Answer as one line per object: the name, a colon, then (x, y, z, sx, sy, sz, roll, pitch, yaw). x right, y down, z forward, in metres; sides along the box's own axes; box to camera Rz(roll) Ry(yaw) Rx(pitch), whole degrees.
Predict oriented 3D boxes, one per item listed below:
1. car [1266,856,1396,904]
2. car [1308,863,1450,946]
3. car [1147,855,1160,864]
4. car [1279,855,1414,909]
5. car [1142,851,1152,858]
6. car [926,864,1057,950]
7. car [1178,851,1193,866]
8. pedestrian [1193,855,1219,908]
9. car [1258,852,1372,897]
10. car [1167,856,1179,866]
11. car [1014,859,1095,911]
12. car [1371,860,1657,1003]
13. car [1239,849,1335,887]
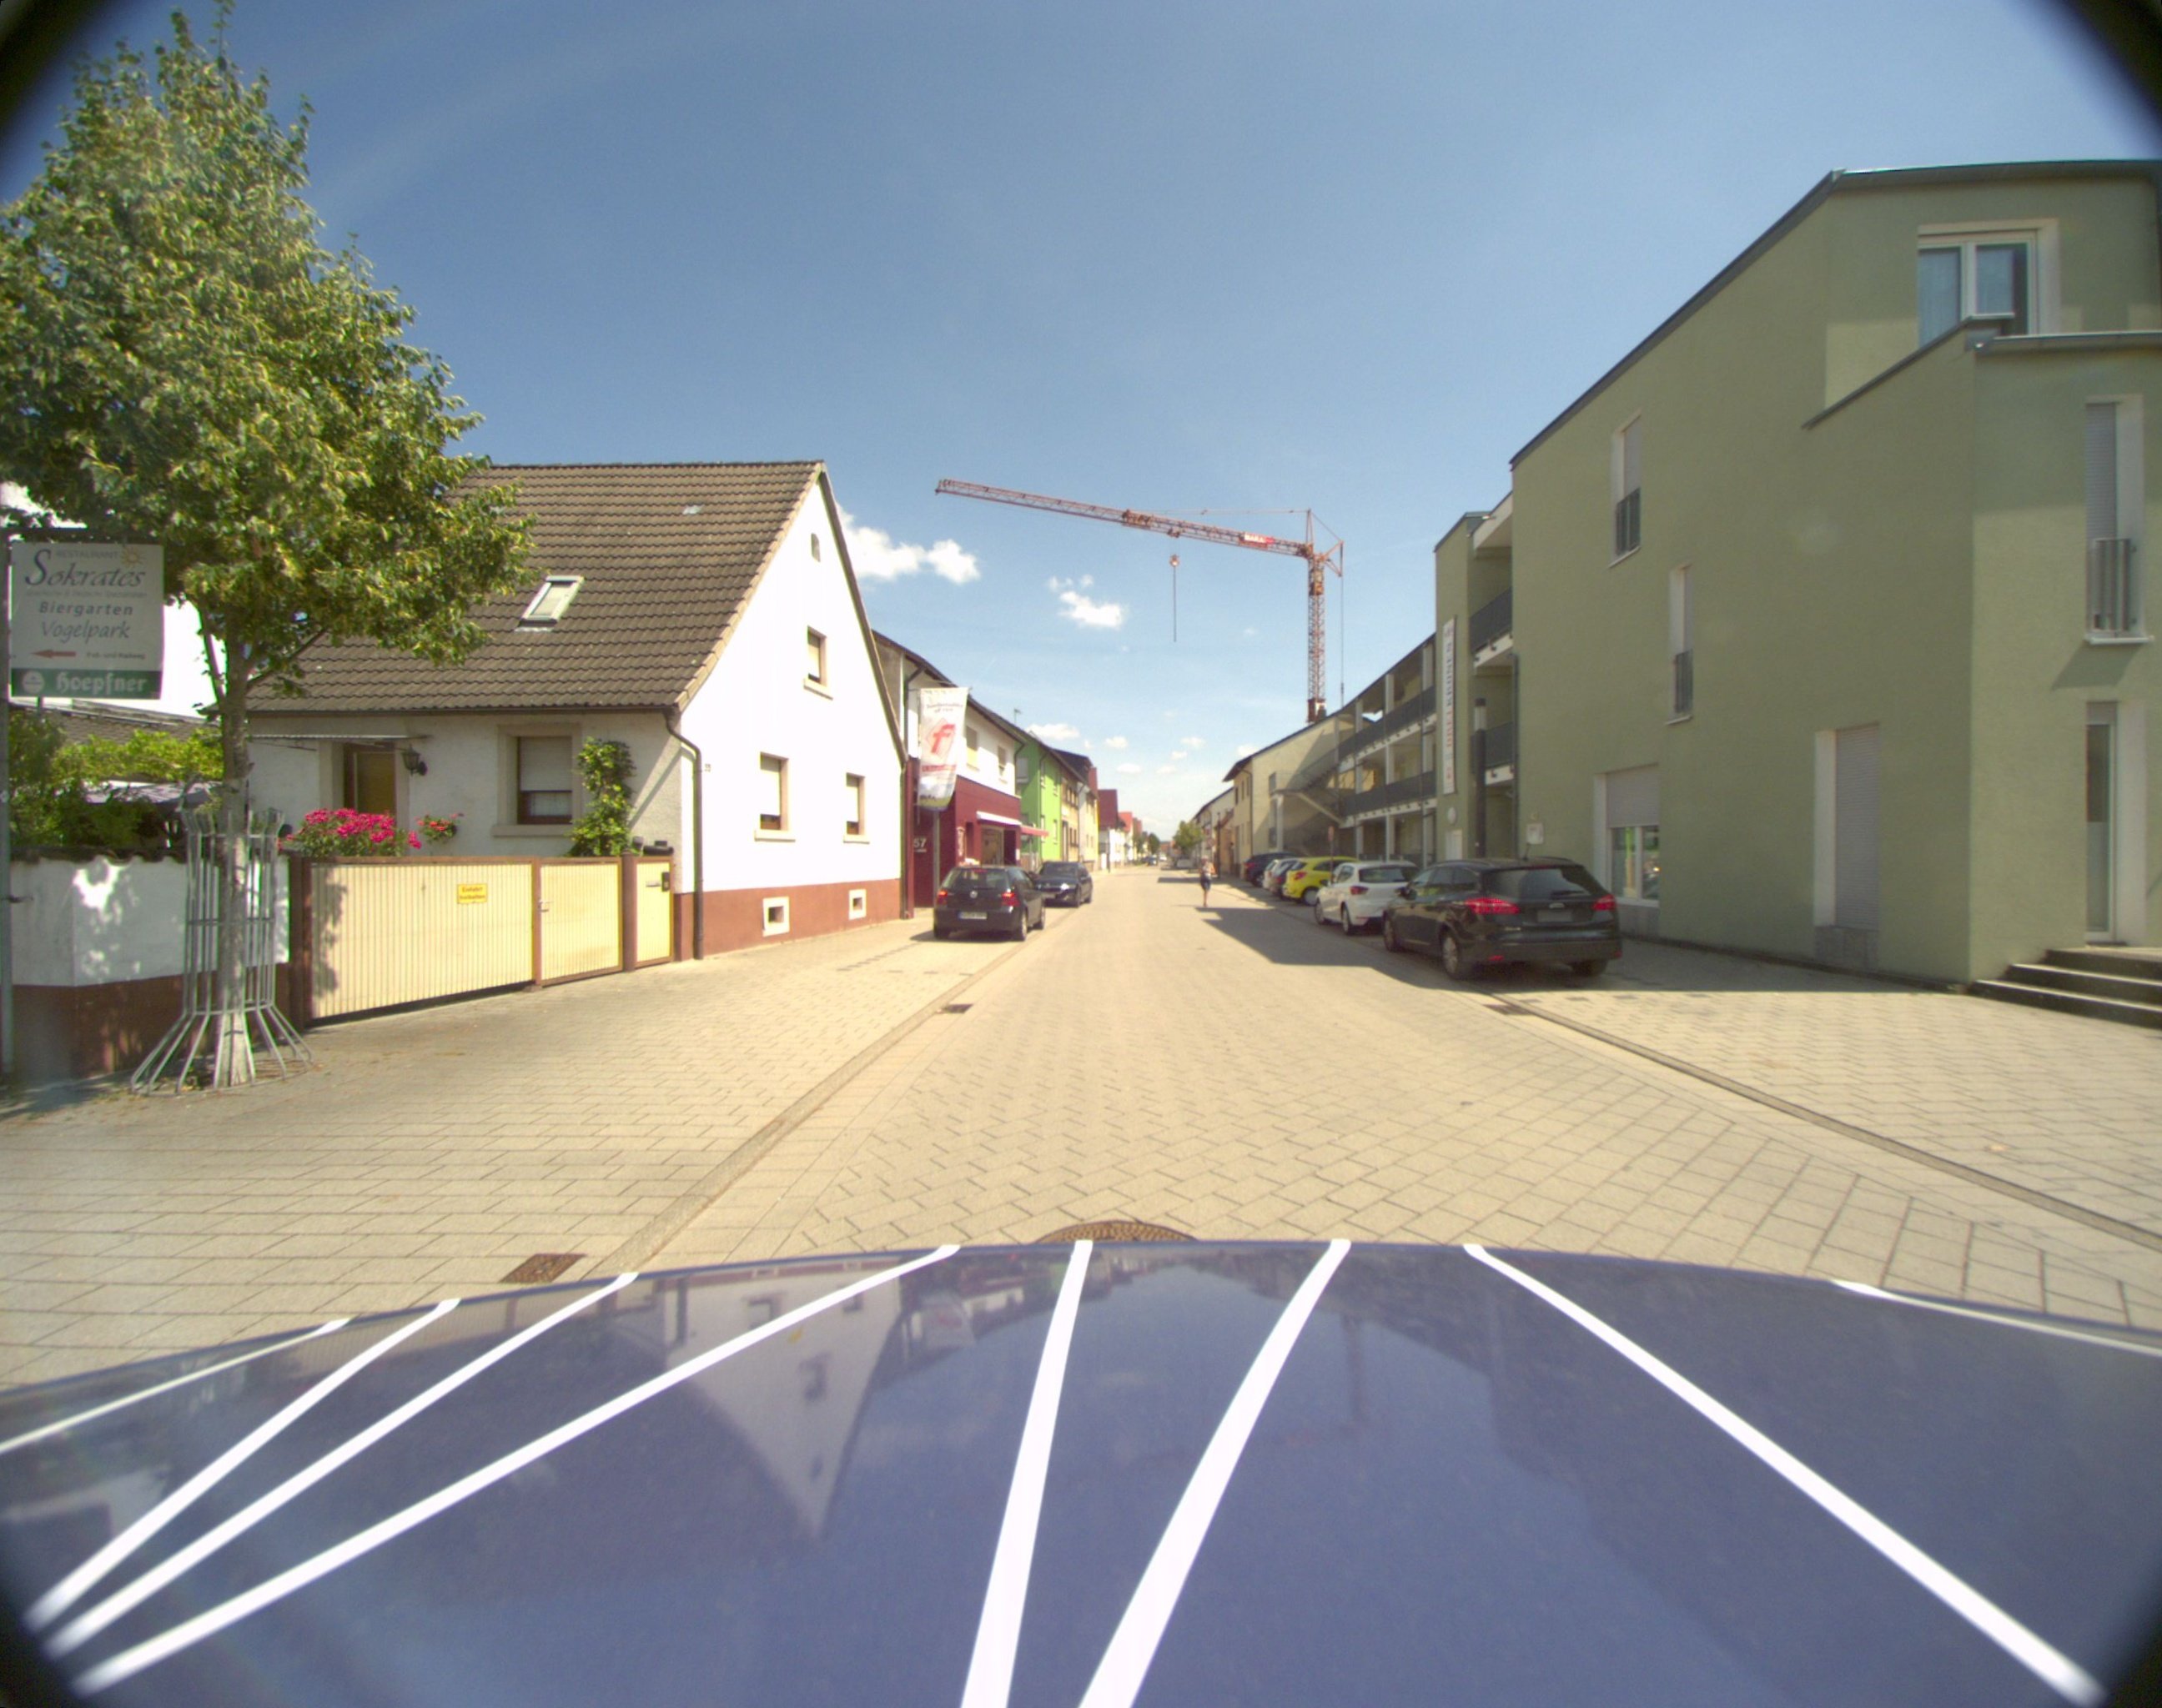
car: (8.669, 0.892, 26.634, 3.995, 1.433, 1.692, -3, 0, 6)
car: (6.062, 0.958, 15.922, 1.761, 1.402, 3.879, -2, 0, 6)
car: (12.000, 0.876, 126.167, 1.957, 1.521, 4.002, 0, 0, 7)
car: (8.434, 0.858, 24.352, 3.701, 1.516, 1.672, -3, 0, 1)
car: (12.494, 0.082, 144.525, 1.725, 1.420, 3.820, 0, 0, 7)
car: (-1.672, 0.973, 15.591, 1.763, 1.430, 4.121, 1, 0, 6)
car: (11.785, 0.470, 85.406, 1.575, 1.552, 2.823, -3, 0, 9)
pedestrian: (3.967, 0.859, 24.068, 0.748, 1.630, 0.732, -2, 1, 8)
car: (8.988, 0.769, 29.439, 3.908, 1.494, 1.752, -3, 0, 7)
car: (15.005, 1.156, 123.879, 1.751, 1.557, 3.956, 0, 0, 5)
car: (-0.769, 0.950, 25.345, 1.861, 1.451, 4.588, 2, 1, 8)
car: (5.524, 0.875, 10.430, 1.817, 1.482, 4.279, -2, 0, 6)
car: (9.959, 0.649, 36.927, 4.227, 1.649, 1.785, -2, 0, 7)
